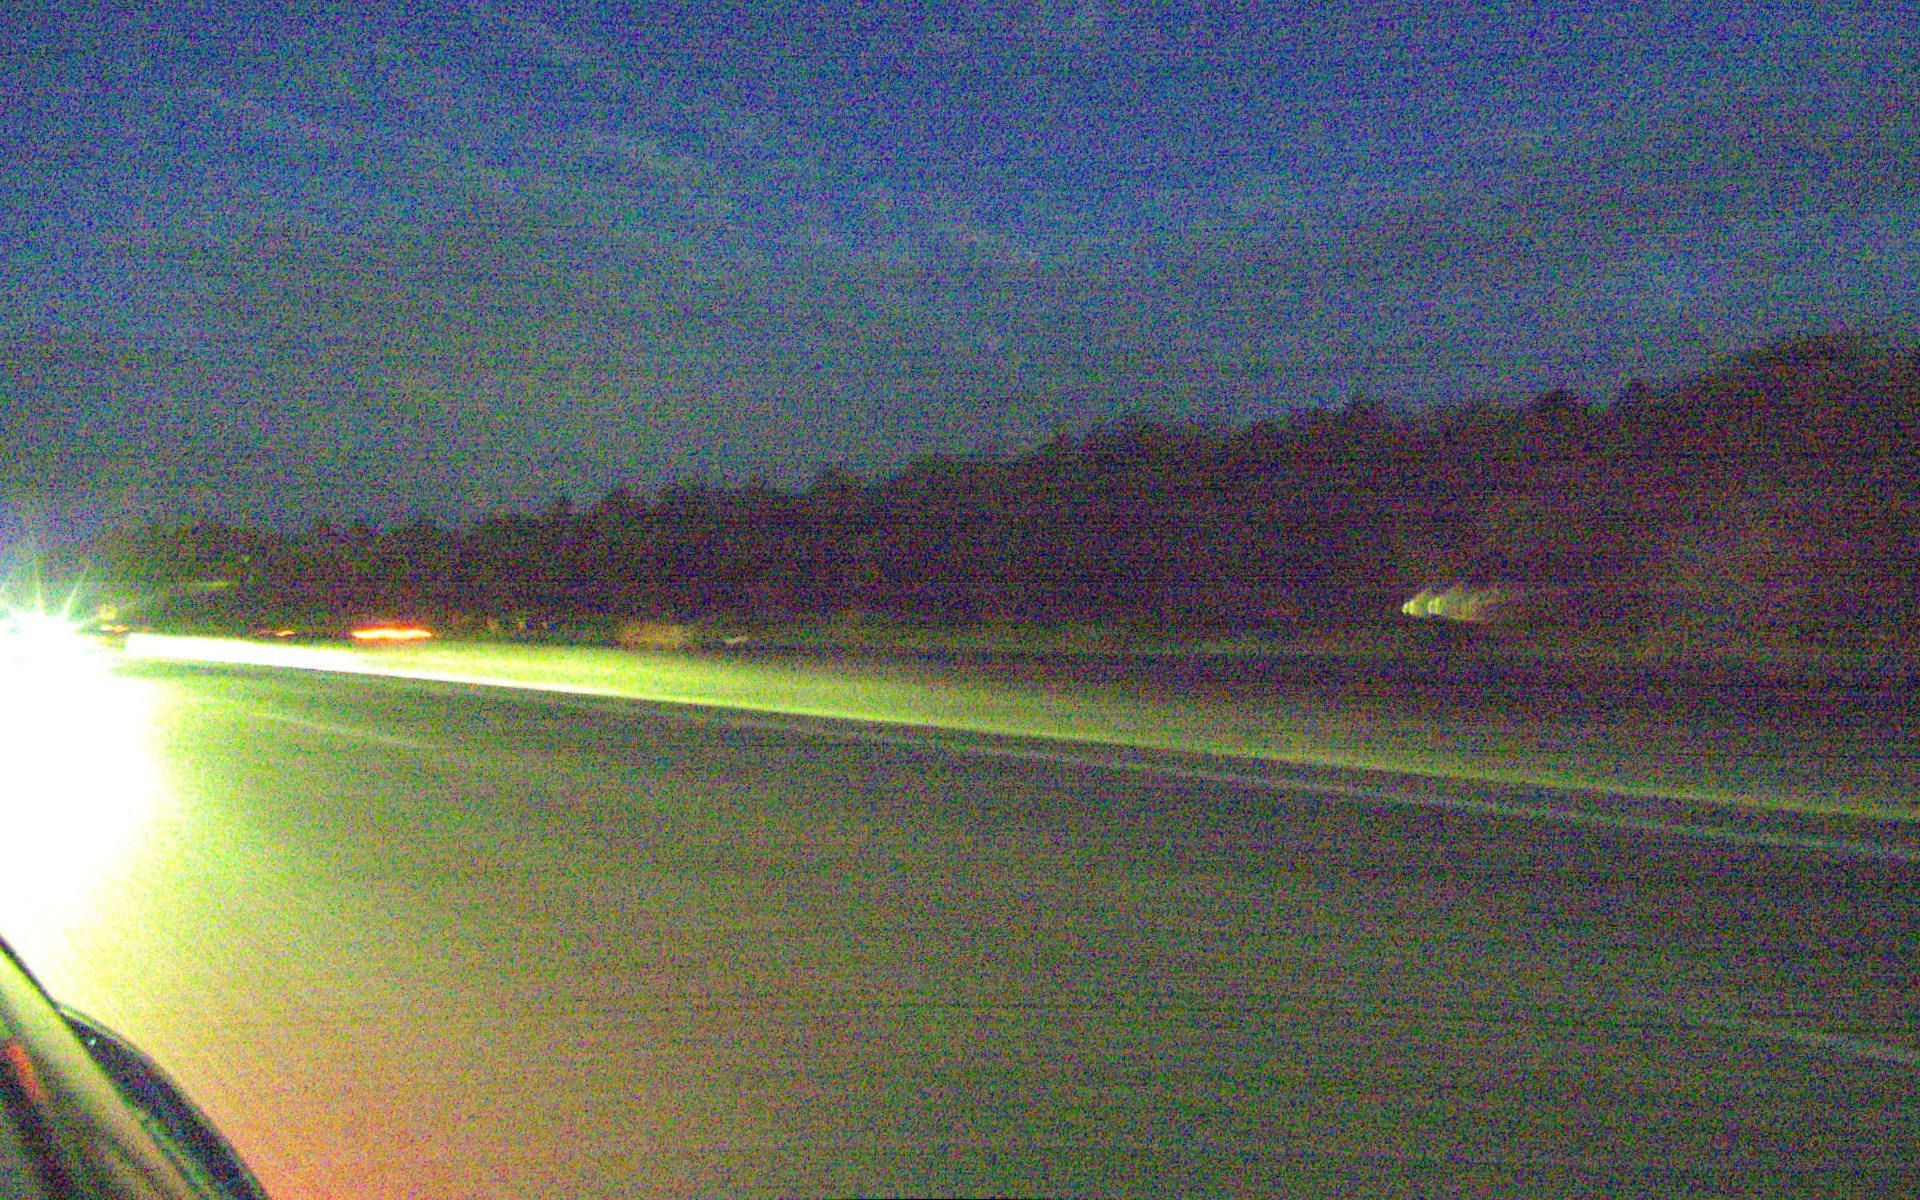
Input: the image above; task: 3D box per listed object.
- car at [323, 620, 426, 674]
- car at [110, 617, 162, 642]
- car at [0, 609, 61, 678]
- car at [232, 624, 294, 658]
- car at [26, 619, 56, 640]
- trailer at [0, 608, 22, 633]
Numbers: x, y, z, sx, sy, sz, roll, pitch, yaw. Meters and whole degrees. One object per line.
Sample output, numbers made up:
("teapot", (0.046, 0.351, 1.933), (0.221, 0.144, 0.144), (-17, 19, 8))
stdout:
("car", (-23.365, 1.822, 40.293), (4.761, 1.970, 2.173), (-1, -1, 42))
("car", (-59.931, 2.109, 73.567), (4.761, 1.694, 2.173), (-1, -1, 42))
("car", (-26.404, 1.171, 27.737), (5.940, 1.734, 1.972), (-1, -1, 42))
("car", (-43.855, 2.552, 63.630), (4.761, 1.970, 2.173), (-1, -1, 42))
("car", (-138.524, 4.405, 152.451), (7.135, 3.052, 2.467), (-1, -1, 40))
("trailer", (-168.384, 3.562, 178.622), (13.036, 4.265, 3.023), (-2, -1, 42))
